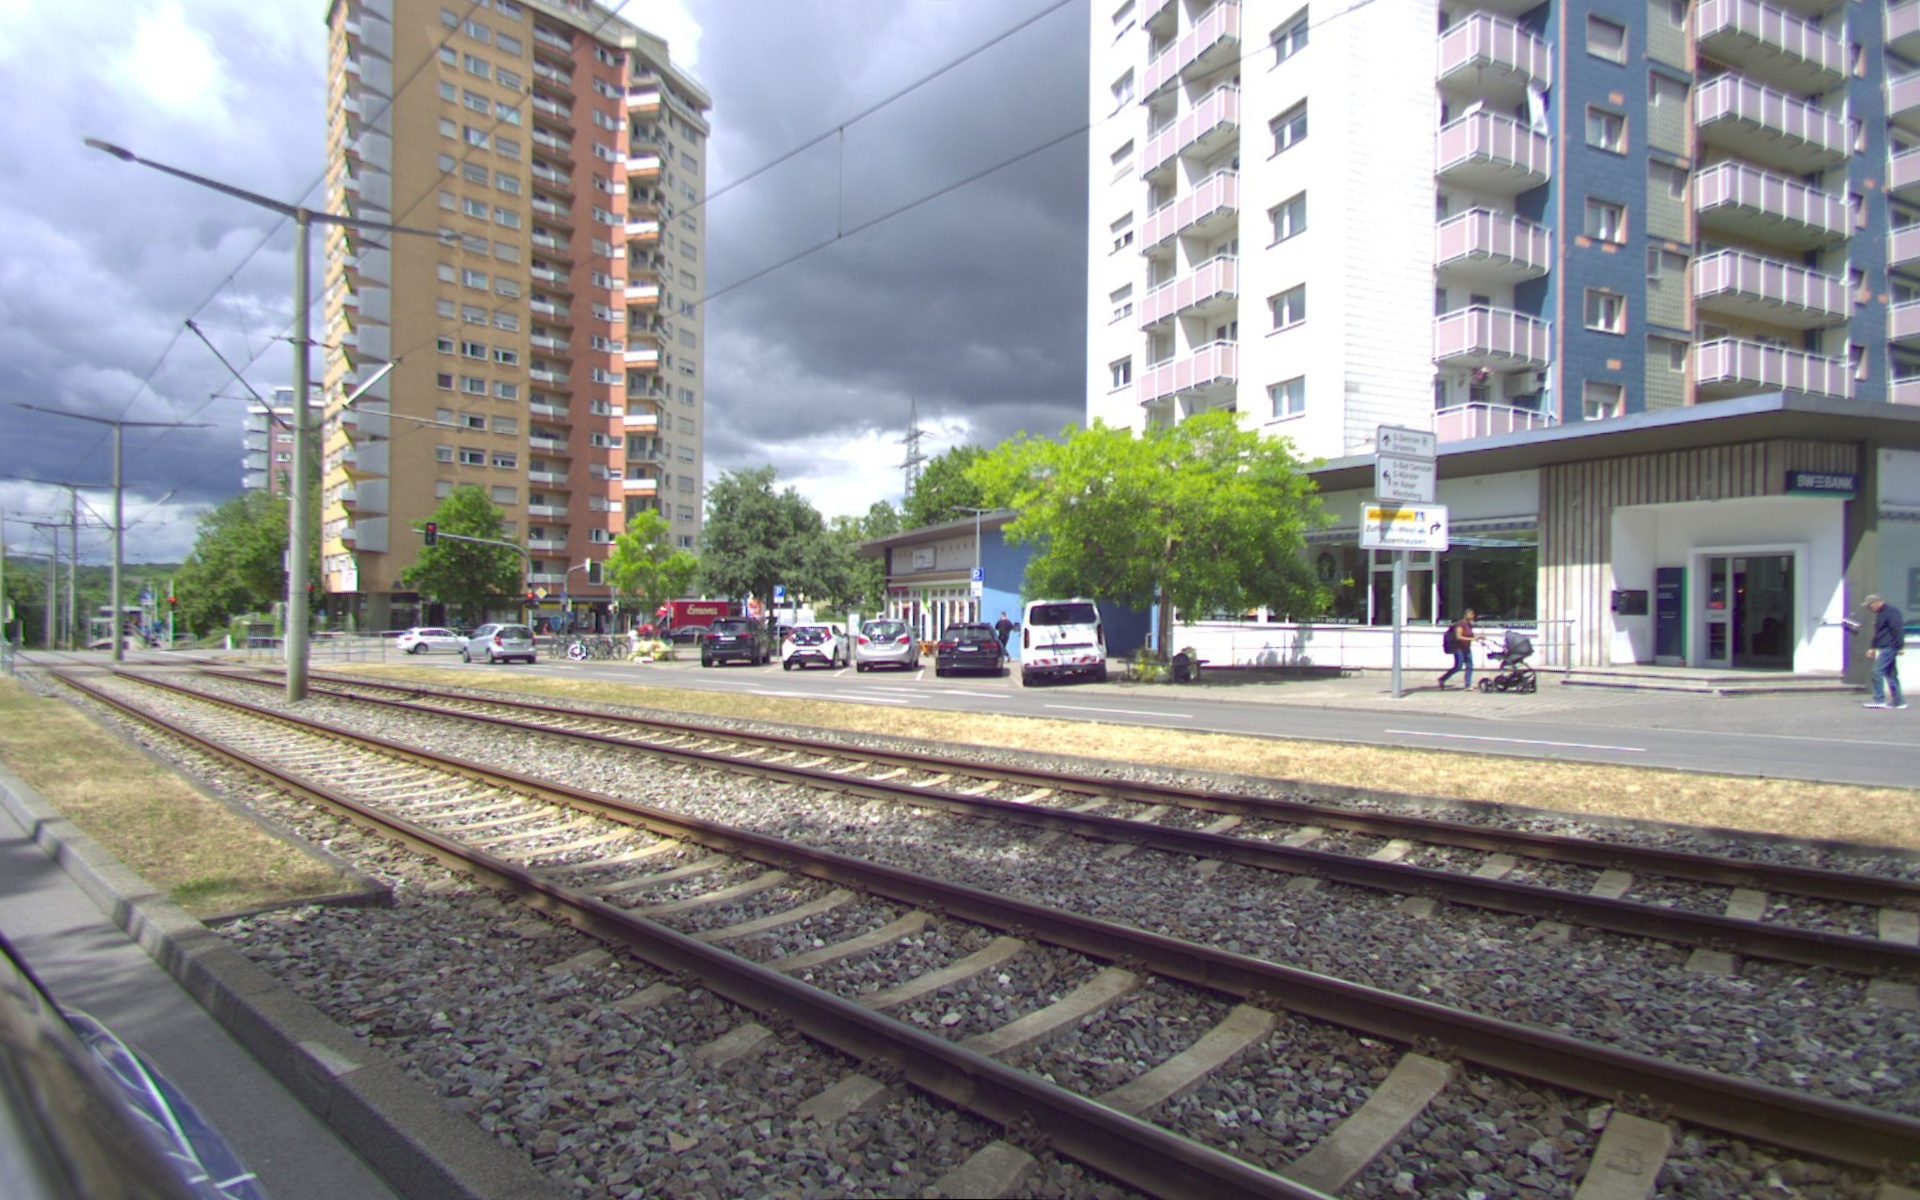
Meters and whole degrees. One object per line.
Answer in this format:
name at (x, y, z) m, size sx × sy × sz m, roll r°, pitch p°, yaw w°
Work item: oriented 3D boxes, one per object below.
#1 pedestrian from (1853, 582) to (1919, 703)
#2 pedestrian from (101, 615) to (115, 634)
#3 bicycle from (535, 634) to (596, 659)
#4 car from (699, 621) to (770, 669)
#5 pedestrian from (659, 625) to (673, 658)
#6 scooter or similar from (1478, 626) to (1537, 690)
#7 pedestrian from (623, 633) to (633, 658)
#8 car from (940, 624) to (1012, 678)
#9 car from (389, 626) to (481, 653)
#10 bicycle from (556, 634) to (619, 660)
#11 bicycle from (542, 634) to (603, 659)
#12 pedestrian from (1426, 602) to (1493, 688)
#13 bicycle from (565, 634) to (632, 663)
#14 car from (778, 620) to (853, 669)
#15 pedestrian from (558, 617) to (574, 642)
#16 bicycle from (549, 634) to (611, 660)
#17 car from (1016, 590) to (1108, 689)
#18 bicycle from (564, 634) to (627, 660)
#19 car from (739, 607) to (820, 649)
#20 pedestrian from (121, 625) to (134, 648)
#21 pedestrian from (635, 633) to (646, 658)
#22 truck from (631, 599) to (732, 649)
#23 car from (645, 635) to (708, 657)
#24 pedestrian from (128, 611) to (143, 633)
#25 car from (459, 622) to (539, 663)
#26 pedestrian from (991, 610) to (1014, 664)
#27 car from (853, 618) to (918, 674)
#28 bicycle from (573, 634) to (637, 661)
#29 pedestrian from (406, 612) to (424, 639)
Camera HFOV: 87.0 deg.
pedestrian at (14.443, 0.654, 15.512) m, size 0.869 × 1.806 × 0.836 m, roll -1°, pitch -3°, yaw 25°
pedestrian at (-74.611, 2.120, 88.635) m, size 0.748 × 1.618 × 0.853 m, roll -2°, pitch -4°, yaw 44°
bicycle at (-17.236, 2.034, 44.255) m, size 0.705 × 1.074 × 2.400 m, roll -2°, pitch -4°, yaw 44°
car at (-8.012, 1.615, 36.280) m, size 1.904 × 1.604 × 4.003 m, roll 0°, pitch -2°, yaw -4°
pedestrian at (-14.790, 2.091, 50.942) m, size 0.600 × 1.656 × 0.412 m, roll -2°, pitch -3°, yaw 42°
scooter or similar at (9.979, 1.061, 18.451) m, size 0.571 × 1.133 × 0.771 m, roll 4°, pitch -5°, yaw -36°
pedestrian at (-19.540, 2.687, 59.510) m, size 0.510 × 1.483 × 0.528 m, roll 1°, pitch -3°, yaw -20°
car at (0.458, 1.414, 28.434) m, size 1.880 × 1.394 × 3.997 m, roll 0°, pitch -2°, yaw 2°
car at (-29.204, 2.223, 56.377) m, size 4.212 × 1.462 × 1.796 m, roll 3°, pitch -4°, yaw -44°
bicycle at (-15.621, 1.968, 42.521) m, size 0.705 × 1.074 × 2.400 m, roll -2°, pitch -4°, yaw 44°
bicycle at (-16.702, 2.012, 43.680) m, size 0.705 × 1.074 × 2.400 m, roll -2°, pitch -4°, yaw 44°
pedestrian at (9.448, 0.850, 19.170) m, size 0.507 × 1.583 × 0.988 m, roll 2°, pitch -3°, yaw -36°
bicycle at (-14.153, 1.876, 39.704) m, size 0.717 × 1.042 × 2.400 m, roll -2°, pitch -2°, yaw 44°
car at (-4.679, 1.467, 33.285) m, size 1.724 × 1.508 × 3.762 m, roll 0°, pitch -2°, yaw 3°
pedestrian at (-29.056, 2.191, 74.635) m, size 0.637 × 1.825 × 0.883 m, roll -1°, pitch -3°, yaw 18°
bicycle at (-16.151, 1.990, 43.100) m, size 0.705 × 1.074 × 2.400 m, roll -2°, pitch -4°, yaw 44°
car at (2.382, 0.962, 24.714) m, size 1.880 × 2.173 × 4.759 m, roll 0°, pitch -2°, yaw 2°
bicycle at (-15.099, 1.946, 41.967) m, size 0.705 × 1.074 × 2.400 m, roll -2°, pitch -4°, yaw 44°
car at (-14.687, 2.356, 82.601) m, size 6.202 × 3.324 × 2.004 m, roll 2°, pitch -3°, yaw -38°
pedestrian at (-72.353, 3.189, 87.949) m, size 0.573 × 1.946 × 0.760 m, roll -2°, pitch -4°, yaw 43°
pedestrian at (-18.965, 2.697, 59.999) m, size 0.562 × 1.483 × 0.528 m, roll 1°, pitch -3°, yaw -20°
truck at (-21.311, 1.906, 77.588) m, size 6.987 × 3.703 × 2.551 m, roll 2°, pitch -3°, yaw -40°
car at (-20.614, 3.336, 73.618) m, size 3.936 × 1.506 × 2.004 m, roll 2°, pitch -3°, yaw -39°
pedestrian at (-67.613, 1.845, 82.973) m, size 0.748 × 1.787 × 0.853 m, roll -2°, pitch -4°, yaw 44°
car at (-18.296, 1.671, 40.081) m, size 1.796 × 1.544 × 3.758 m, roll 3°, pitch -3°, yaw -43°
pedestrian at (1.452, 1.264, 34.770) m, size 0.761 × 1.835 × 0.890 m, roll 0°, pitch -2°, yaw 3°
car at (-2.281, 1.430, 31.656) m, size 1.878 × 1.644 × 4.002 m, roll 0°, pitch -2°, yaw -3°
bicycle at (-14.528, 1.927, 41.446) m, size 0.705 × 1.074 × 2.400 m, roll -2°, pitch -4°, yaw 44°
pedestrian at (-40.113, 1.871, 74.456) m, size 0.854 × 1.949 × 0.907 m, roll -2°, pitch -4°, yaw 44°
